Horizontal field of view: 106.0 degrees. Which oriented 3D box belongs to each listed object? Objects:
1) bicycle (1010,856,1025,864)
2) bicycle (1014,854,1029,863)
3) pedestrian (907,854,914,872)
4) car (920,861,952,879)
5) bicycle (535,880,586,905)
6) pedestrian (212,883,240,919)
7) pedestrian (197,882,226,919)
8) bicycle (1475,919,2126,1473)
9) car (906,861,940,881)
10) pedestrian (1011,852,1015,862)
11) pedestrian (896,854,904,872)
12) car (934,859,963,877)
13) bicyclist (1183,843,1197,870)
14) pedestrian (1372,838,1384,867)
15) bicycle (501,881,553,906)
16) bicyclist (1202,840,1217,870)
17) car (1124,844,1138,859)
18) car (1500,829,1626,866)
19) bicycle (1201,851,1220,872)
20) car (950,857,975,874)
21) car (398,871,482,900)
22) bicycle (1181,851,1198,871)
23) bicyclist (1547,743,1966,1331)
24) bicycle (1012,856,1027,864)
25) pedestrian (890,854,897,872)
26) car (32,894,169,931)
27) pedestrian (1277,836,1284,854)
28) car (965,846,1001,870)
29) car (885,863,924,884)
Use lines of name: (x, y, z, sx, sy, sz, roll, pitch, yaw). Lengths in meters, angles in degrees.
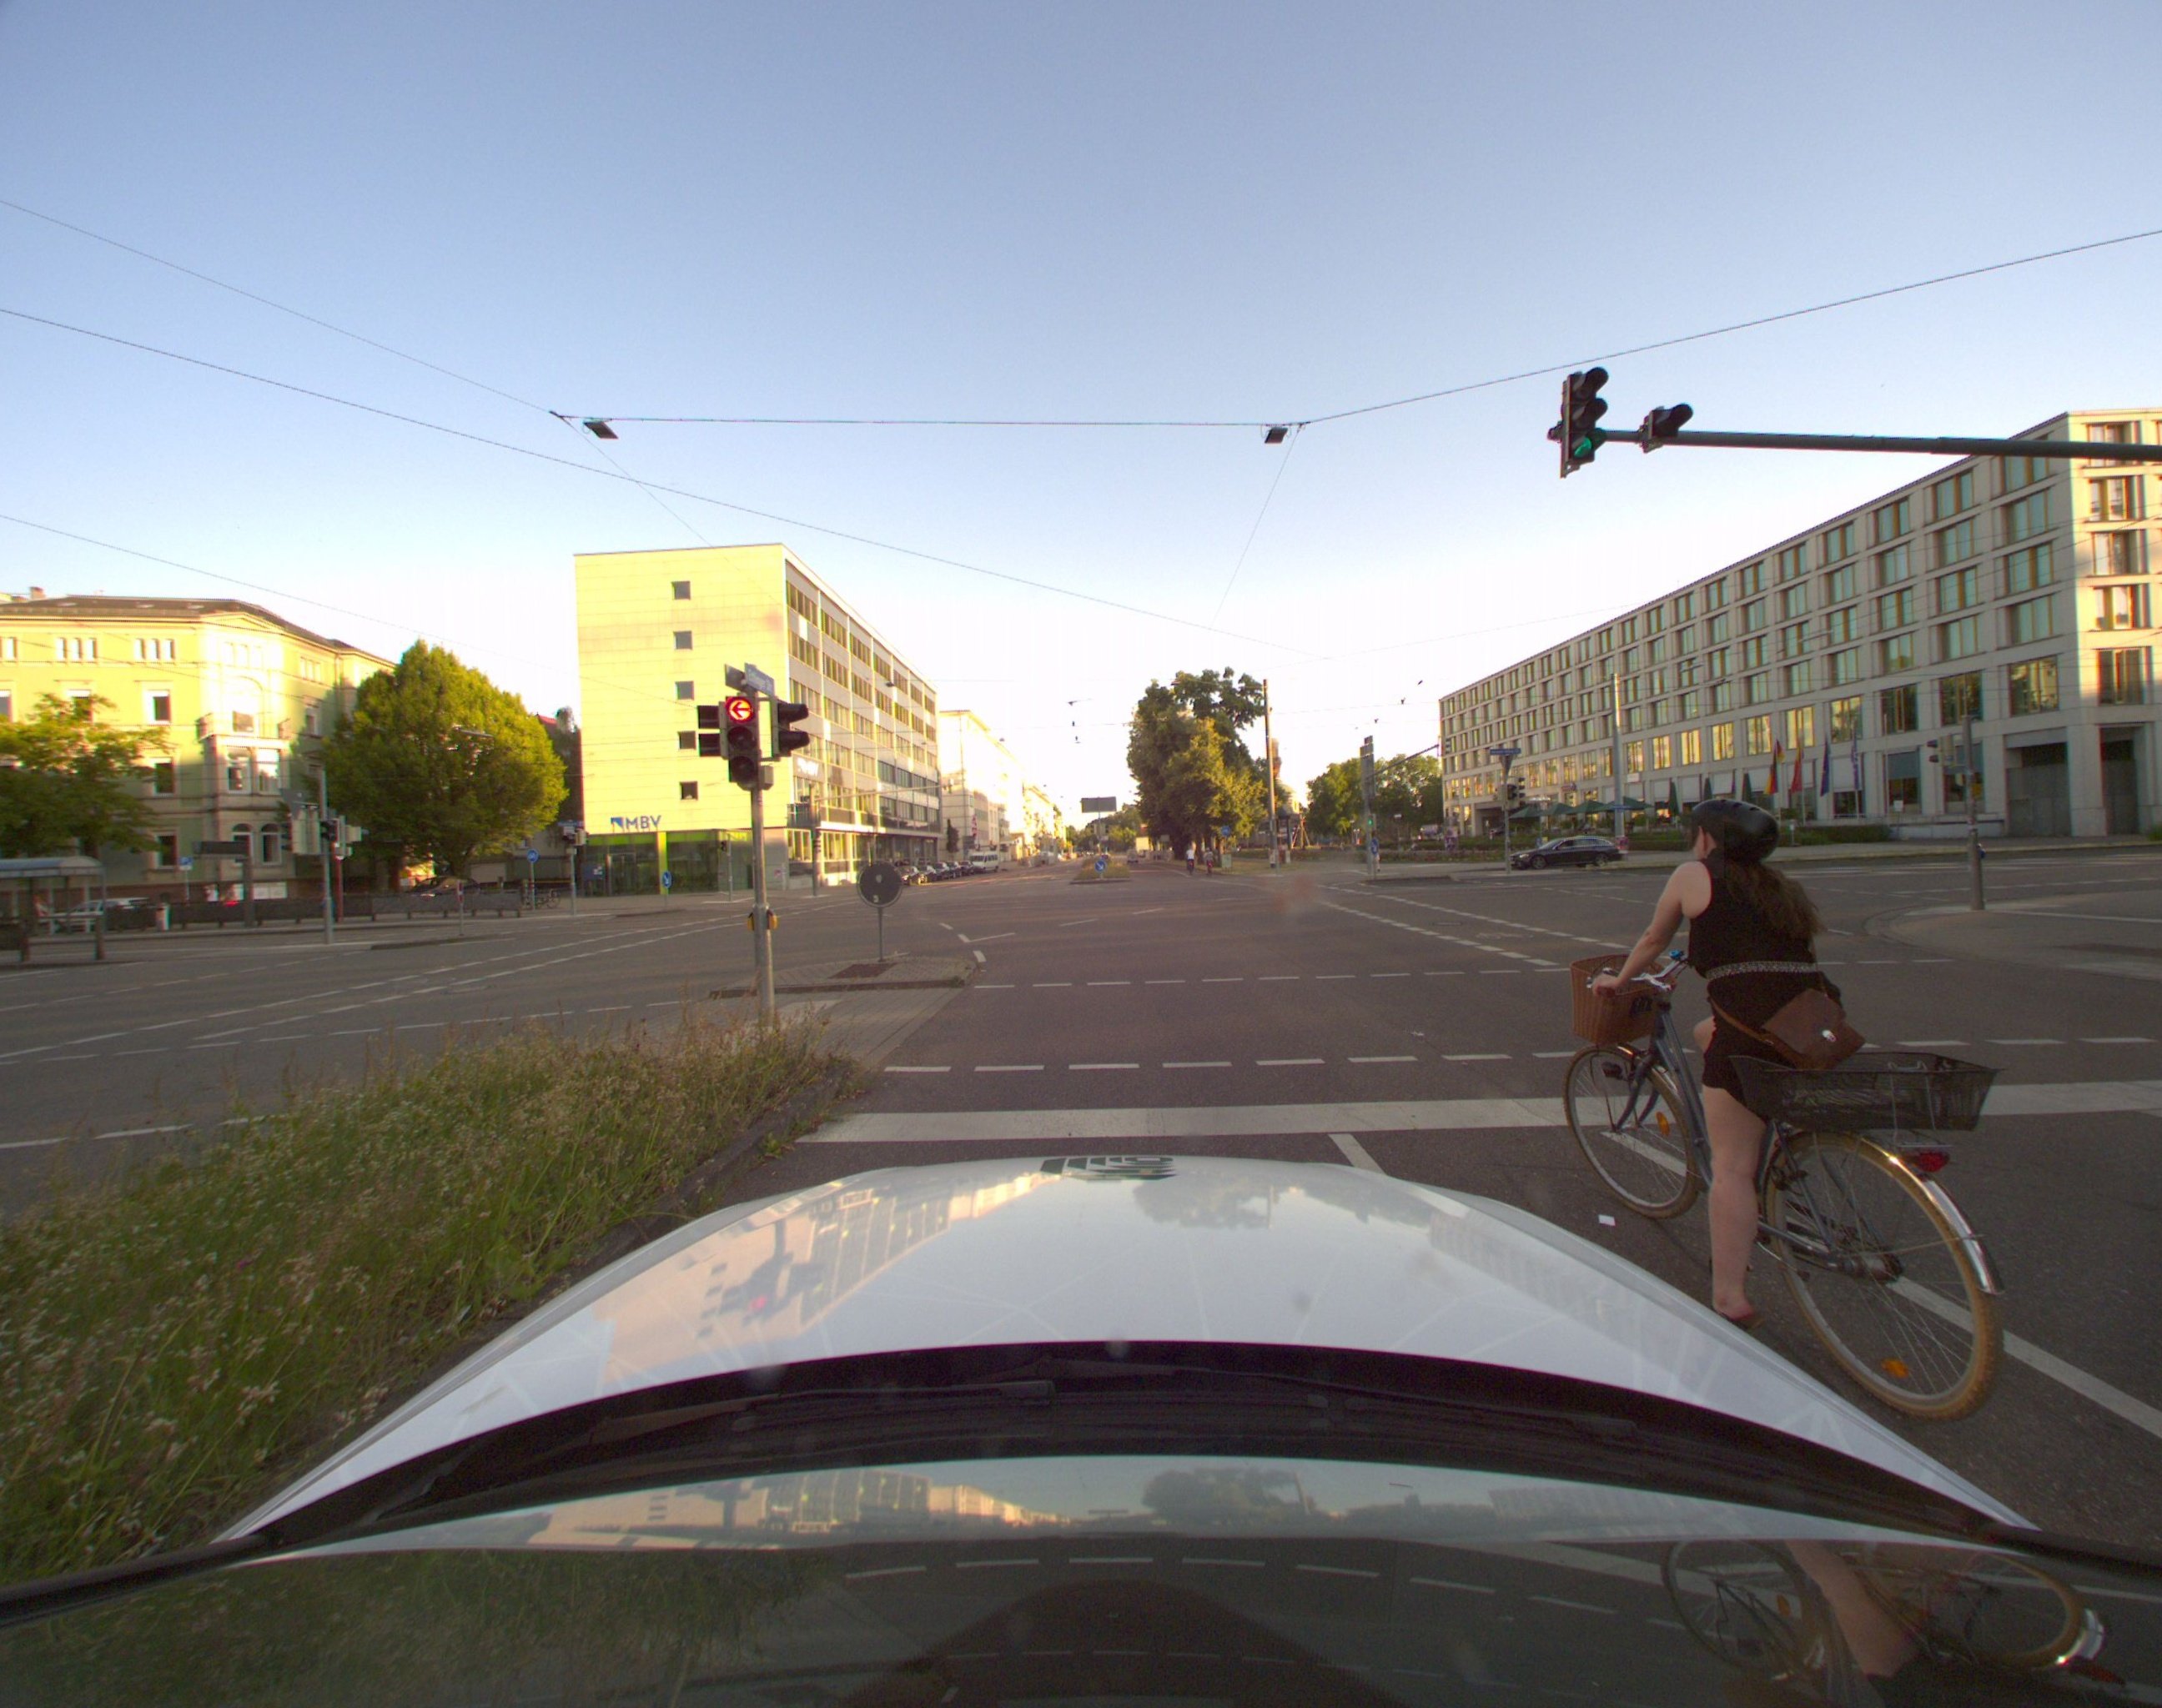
bicycle: (-9.841, 0.918, 125.911, 2.198, 1.112, 0.619, -3, 0, 0)
bicycle: (-9.458, 0.736, 129.340, 2.198, 1.236, 0.839, -3, 0, 0)
pedestrian: (-16.454, 0.837, 78.558, 0.549, 1.679, 0.500, -3, 0, 1)
car: (-13.090, 1.455, 73.729, 1.913, 1.464, 4.002, -3, 0, 2)
bicycle: (-25.491, 1.868, 39.932, 0.832, 1.112, 2.216, -3, 0, 6)
pedestrian: (-44.692, 2.457, 42.573, 0.641, 1.790, 0.720, -2, 0, -12)
pedestrian: (-44.534, 2.368, 41.717, 0.641, 1.790, 0.720, -2, 0, -12)
bicycle: (2.177, 0.887, 2.921, 0.609, 1.132, 2.005, -1, 0, 2)
car: (-13.300, 1.431, 68.916, 1.913, 1.464, 4.002, -3, 0, 2)
pedestrian: (-13.788, 0.548, 165.441, 0.677, 2.013, 0.545, -3, 0, 1)
pedestrian: (-17.503, 0.892, 78.841, 0.549, 1.679, 0.500, -3, 0, 1)
car: (-12.836, 1.331, 79.030, 1.913, 1.568, 4.002, -3, 0, 2)
bicyclist: (6.859, 0.135, 51.251, 0.744, 1.663, 0.873, -3, 0, 1)
pedestrian: (16.339, -0.086, 44.821, 0.489, 1.540, 0.408, -3, 0, 1)
bicycle: (-27.101, 1.920, 39.918, 0.832, 1.112, 2.216, -3, 0, 6)
bicyclist: (7.589, 0.052, 48.076, 0.744, 1.691, 0.799, -3, 0, 1)
car: (6.045, -0.324, 98.115, 1.403, 1.641, 4.000, -3, 0, 1)
car: (23.153, -0.300, 39.252, 4.803, 1.515, 2.002, -3, 0, 4)
bicycle: (7.609, 0.437, 48.070, 0.744, 1.144, 2.506, -3, 0, 2)
car: (-12.366, 1.187, 85.253, 1.913, 1.568, 4.002, -3, 0, 2)
car: (-36.302, 1.751, 46.249, 1.830, 1.372, 3.594, -3, 0, 0)
bicycle: (6.850, 0.428, 51.578, 0.744, 1.144, 2.506, -3, 0, 2)
bicyclist: (2.170, 0.510, 2.774, 0.597, 1.636, 0.999, -1, 0, 2)
bicycle: (-9.593, 0.913, 127.273, 2.198, 1.112, 0.689, -3, 0, 0)
pedestrian: (-18.125, 0.895, 78.695, 0.549, 1.679, 0.500, -3, 0, 1)
car: (-45.254, 2.664, 37.687, 3.588, 1.372, 1.833, -3, 0, -15)
pedestrian: (18.062, -0.805, 73.753, 0.458, 1.656, 0.567, -3, 0, 1)
car: (-10.968, 0.388, 91.670, 1.988, 2.478, 5.888, -3, 0, 12)
car: (-13.499, 1.462, 62.402, 1.913, 1.464, 4.105, -3, 0, 2)
